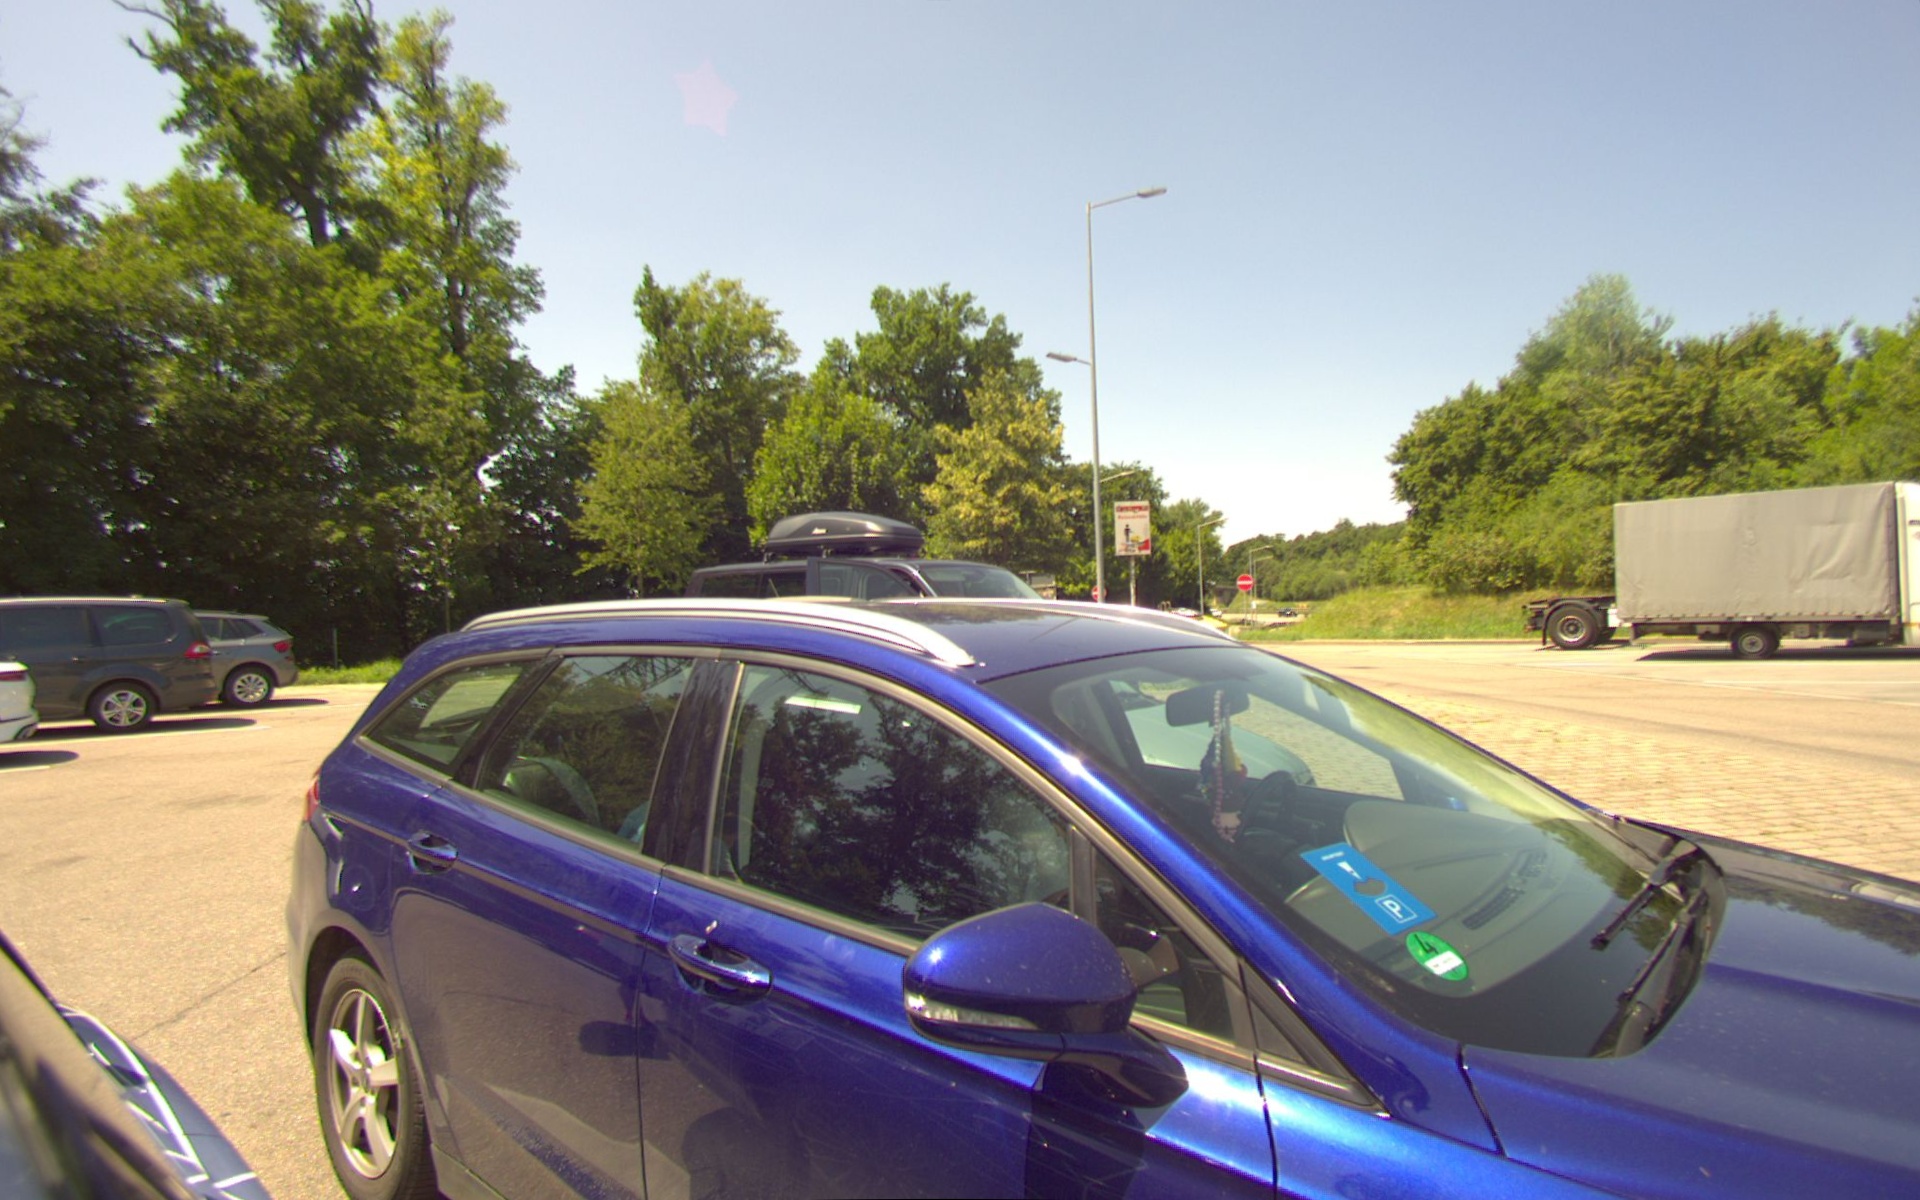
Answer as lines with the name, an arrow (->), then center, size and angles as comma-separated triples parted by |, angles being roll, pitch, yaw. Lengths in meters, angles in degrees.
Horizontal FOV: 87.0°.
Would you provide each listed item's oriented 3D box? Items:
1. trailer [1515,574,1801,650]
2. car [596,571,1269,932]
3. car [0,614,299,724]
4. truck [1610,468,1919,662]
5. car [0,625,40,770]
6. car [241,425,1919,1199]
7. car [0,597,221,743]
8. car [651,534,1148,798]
trailer -> 16.337, 0.341, 23.925 | 5.393, 1.608, 1.576 | -2, -1, 41
car -> -0.359, 0.651, 5.814 | 3.739, 1.424, 1.587 | -2, -1, 40
car -> -12.603, 0.974, 15.635 | 3.753, 1.488, 1.743 | 0, -1, -45
truck -> 16.716, -0.623, 18.852 | 7.308, 3.258, 2.294 | -5, -2, 43
car -> -10.954, 0.946, 9.207 | 3.753, 1.377, 1.804 | 0, -1, -45
car -> 0.245, 0.652, 2.093 | 4.427, 1.455, 1.763 | -2, -1, 40
car -> -11.707, 0.838, 12.595 | 3.830, 1.703, 1.883 | 0, -2, -45
car -> -0.726, 0.534, 9.425 | 4.427, 1.875, 2.022 | -2, -1, 40
